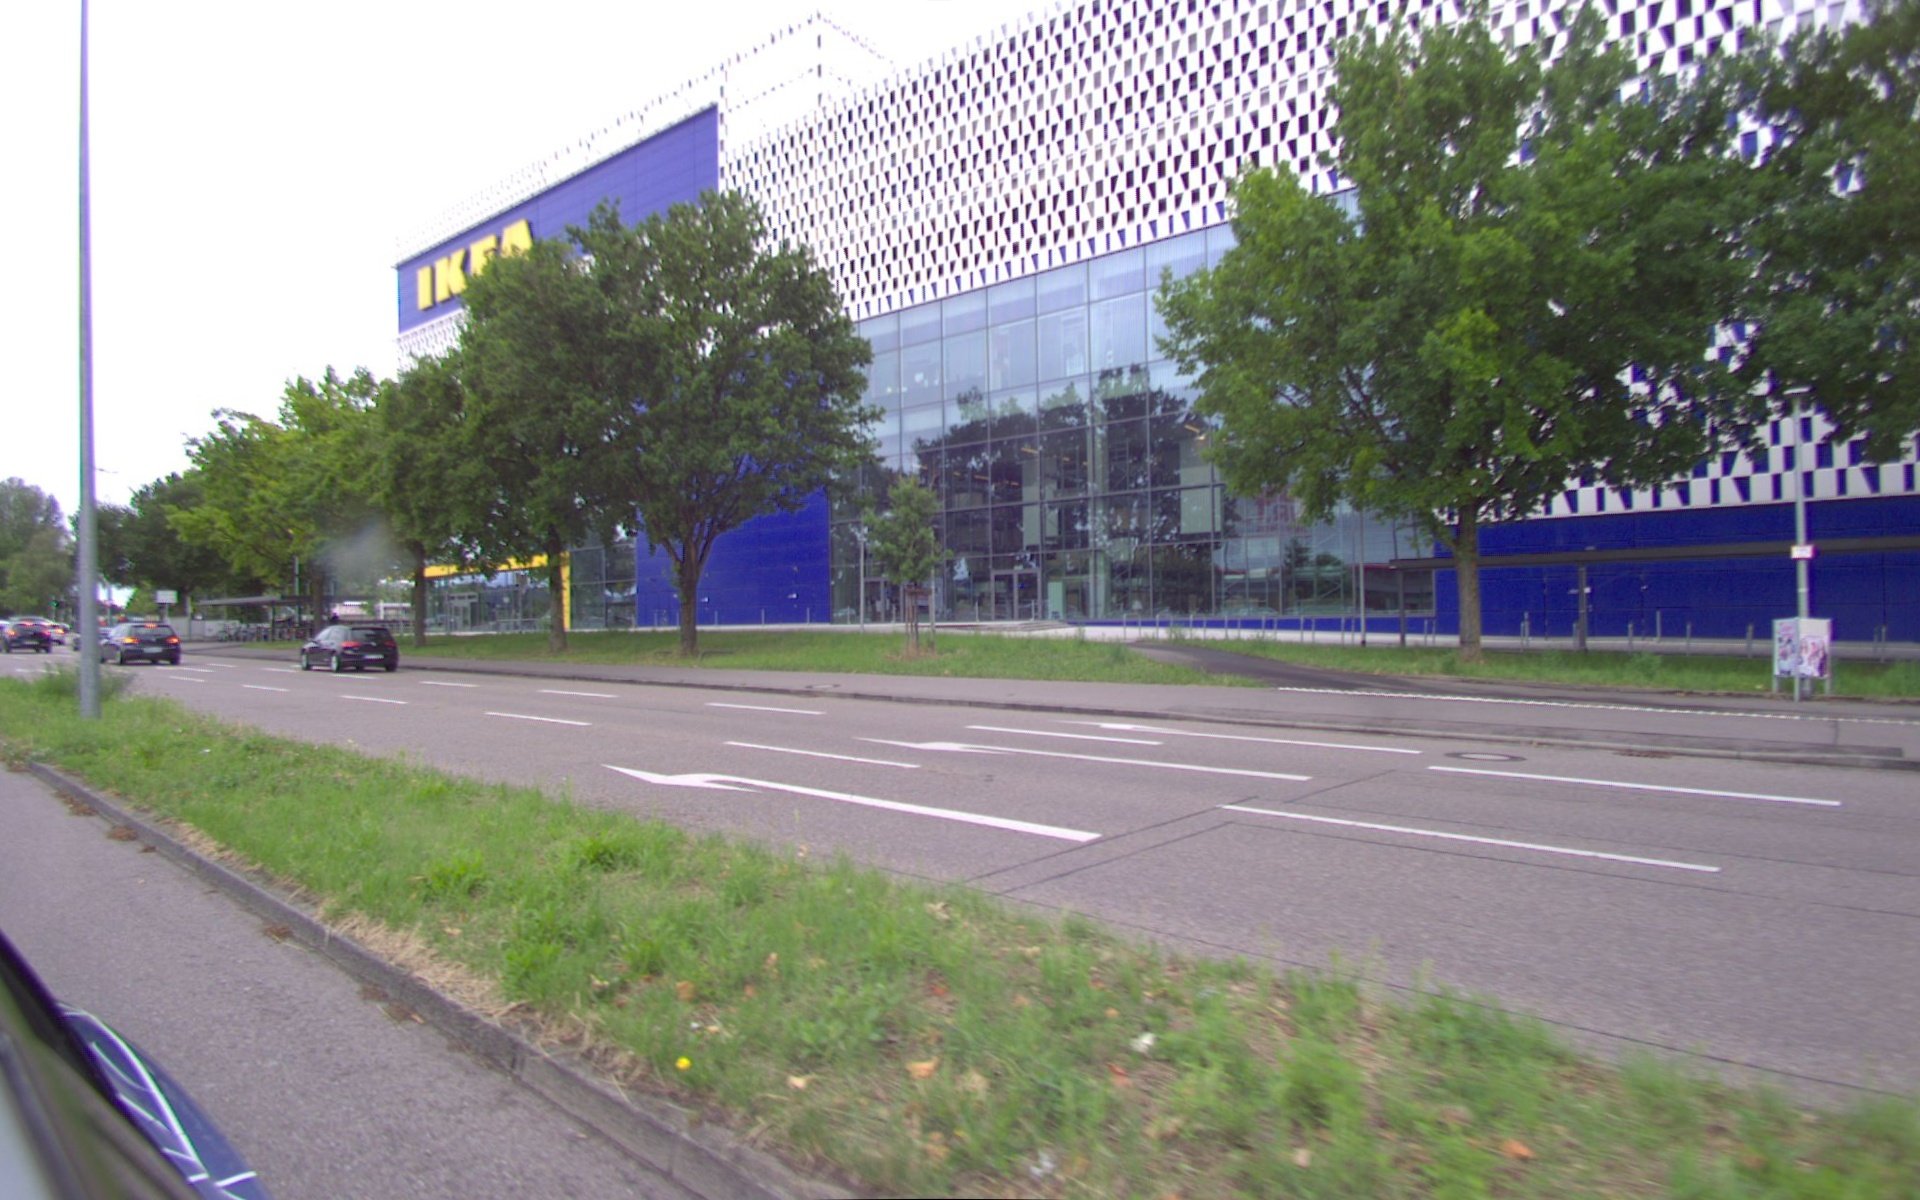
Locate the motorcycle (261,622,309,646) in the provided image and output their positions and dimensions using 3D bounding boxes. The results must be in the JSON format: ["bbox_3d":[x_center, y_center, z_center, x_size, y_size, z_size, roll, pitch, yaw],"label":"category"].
[{"bbox_3d":[-43.037,2.159,64.541,0.796,1.365,2.478,-2,1,26],"label":"motorcycle"}]

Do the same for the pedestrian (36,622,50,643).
[{"bbox_3d":[-82.446,2.905,91.003,0.686,1.778,0.656,3,-1,36],"label":"pedestrian"}]

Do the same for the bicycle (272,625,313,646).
[{"bbox_3d":[-41.027,2.199,62.191,0.593,1.165,1.996,-2,1,39],"label":"bicycle"}]

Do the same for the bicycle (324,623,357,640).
[{"bbox_3d":[-45.257,2.296,73.942,0.593,1.165,1.997,-2,0,37],"label":"bicycle"}]

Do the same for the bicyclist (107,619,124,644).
[{"bbox_3d":[-54.090,2.001,64.802,0.999,1.589,0.634,-2,0,39],"label":"bicyclist"}]

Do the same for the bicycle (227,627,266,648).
[{"bbox_3d":[-43.959,2.291,62.377,0.593,1.165,1.875,-2,1,39],"label":"bicycle"}]

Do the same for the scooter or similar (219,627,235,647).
[{"bbox_3d":[-46.292,2.329,63.906,0.353,1.193,1.296,-2,0,-13],"label":"scooter or similar"}]

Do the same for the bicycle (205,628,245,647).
[{"bbox_3d":[-46.807,2.370,64.434,0.593,1.165,1.996,-2,-1,39],"label":"bicycle"}]

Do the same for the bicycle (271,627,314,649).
[{"bbox_3d":[-38.717,2.200,58.702,1.989,1.165,0.595,-2,1,-37],"label":"bicycle"}]

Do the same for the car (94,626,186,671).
[{"bbox_3d":[-28.986,1.683,35.739,4.179,1.467,1.762,-1,-2,40],"label":"car"}]

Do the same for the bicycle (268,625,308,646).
[{"bbox_3d":[-42.288,2.235,63.704,0.593,1.165,1.996,-2,1,39],"label":"bicycle"}]

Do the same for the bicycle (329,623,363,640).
[{"bbox_3d":[-44.410,2.260,73.233,0.593,1.165,1.997,-2,0,37],"label":"bicycle"}]

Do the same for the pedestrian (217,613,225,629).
[{"bbox_3d":[-82.916,2.400,113.500,0.788,1.755,0.579,-4,-3,41],"label":"pedestrian"}]

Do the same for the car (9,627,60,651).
[{"bbox_3d":[-59.500,2.487,65.069,4.164,1.465,1.847,-1,-2,40],"label":"car"}]

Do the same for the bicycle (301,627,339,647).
[{"bbox_3d":[-37.951,2.180,60.042,0.593,1.090,1.792,-2,1,39],"label":"bicycle"}]

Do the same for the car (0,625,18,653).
[{"bbox_3d":[-54.737,2.203,56.944,4.177,1.530,1.912,-2,-1,39],"label":"car"}]

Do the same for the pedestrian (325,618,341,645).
[{"bbox_3d":[-42.349,2.112,68.371,0.807,1.759,0.670,-2,-1,39],"label":"pedestrian"}]

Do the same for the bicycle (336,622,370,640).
[{"bbox_3d":[-43.467,2.216,72.442,0.593,1.165,1.997,-2,0,37],"label":"bicycle"}]

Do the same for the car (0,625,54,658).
[{"bbox_3d":[-45.397,1.983,48.910,3.996,1.464,1.740,0,-2,39],"label":"car"}]

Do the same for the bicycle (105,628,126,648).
[{"bbox_3d":[-54.079,2.429,64.827,2.054,1.260,0.636,-2,0,39],"label":"bicycle"}]

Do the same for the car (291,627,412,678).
[{"bbox_3d":[-19.115,1.615,31.726,4.178,1.467,1.912,-1,-3,39],"label":"car"}]

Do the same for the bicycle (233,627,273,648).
[{"bbox_3d":[-43.106,2.250,61.717,0.593,1.165,1.875,-2,1,39],"label":"bicycle"}]

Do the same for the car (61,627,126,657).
[{"bbox_3d":[-45.381,2.193,52.976,4.399,1.463,1.755,-1,-3,38],"label":"car"}]

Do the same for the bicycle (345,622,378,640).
[{"bbox_3d":[-42.215,2.204,71.383,0.590,1.165,2.005,-2,0,26],"label":"bicycle"}]

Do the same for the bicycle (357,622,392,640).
[{"bbox_3d":[-40.583,2.127,70.170,0.592,1.165,2.000,-2,0,33],"label":"bicycle"}]

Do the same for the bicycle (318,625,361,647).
[{"bbox_3d":[-36.091,2.092,58.874,0.593,1.131,1.995,-2,1,41],"label":"bicycle"}]

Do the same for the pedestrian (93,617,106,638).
[{"bbox_3d":[-71.546,2.284,84.112,0.808,1.655,0.627,1,0,37],"label":"pedestrian"}]
